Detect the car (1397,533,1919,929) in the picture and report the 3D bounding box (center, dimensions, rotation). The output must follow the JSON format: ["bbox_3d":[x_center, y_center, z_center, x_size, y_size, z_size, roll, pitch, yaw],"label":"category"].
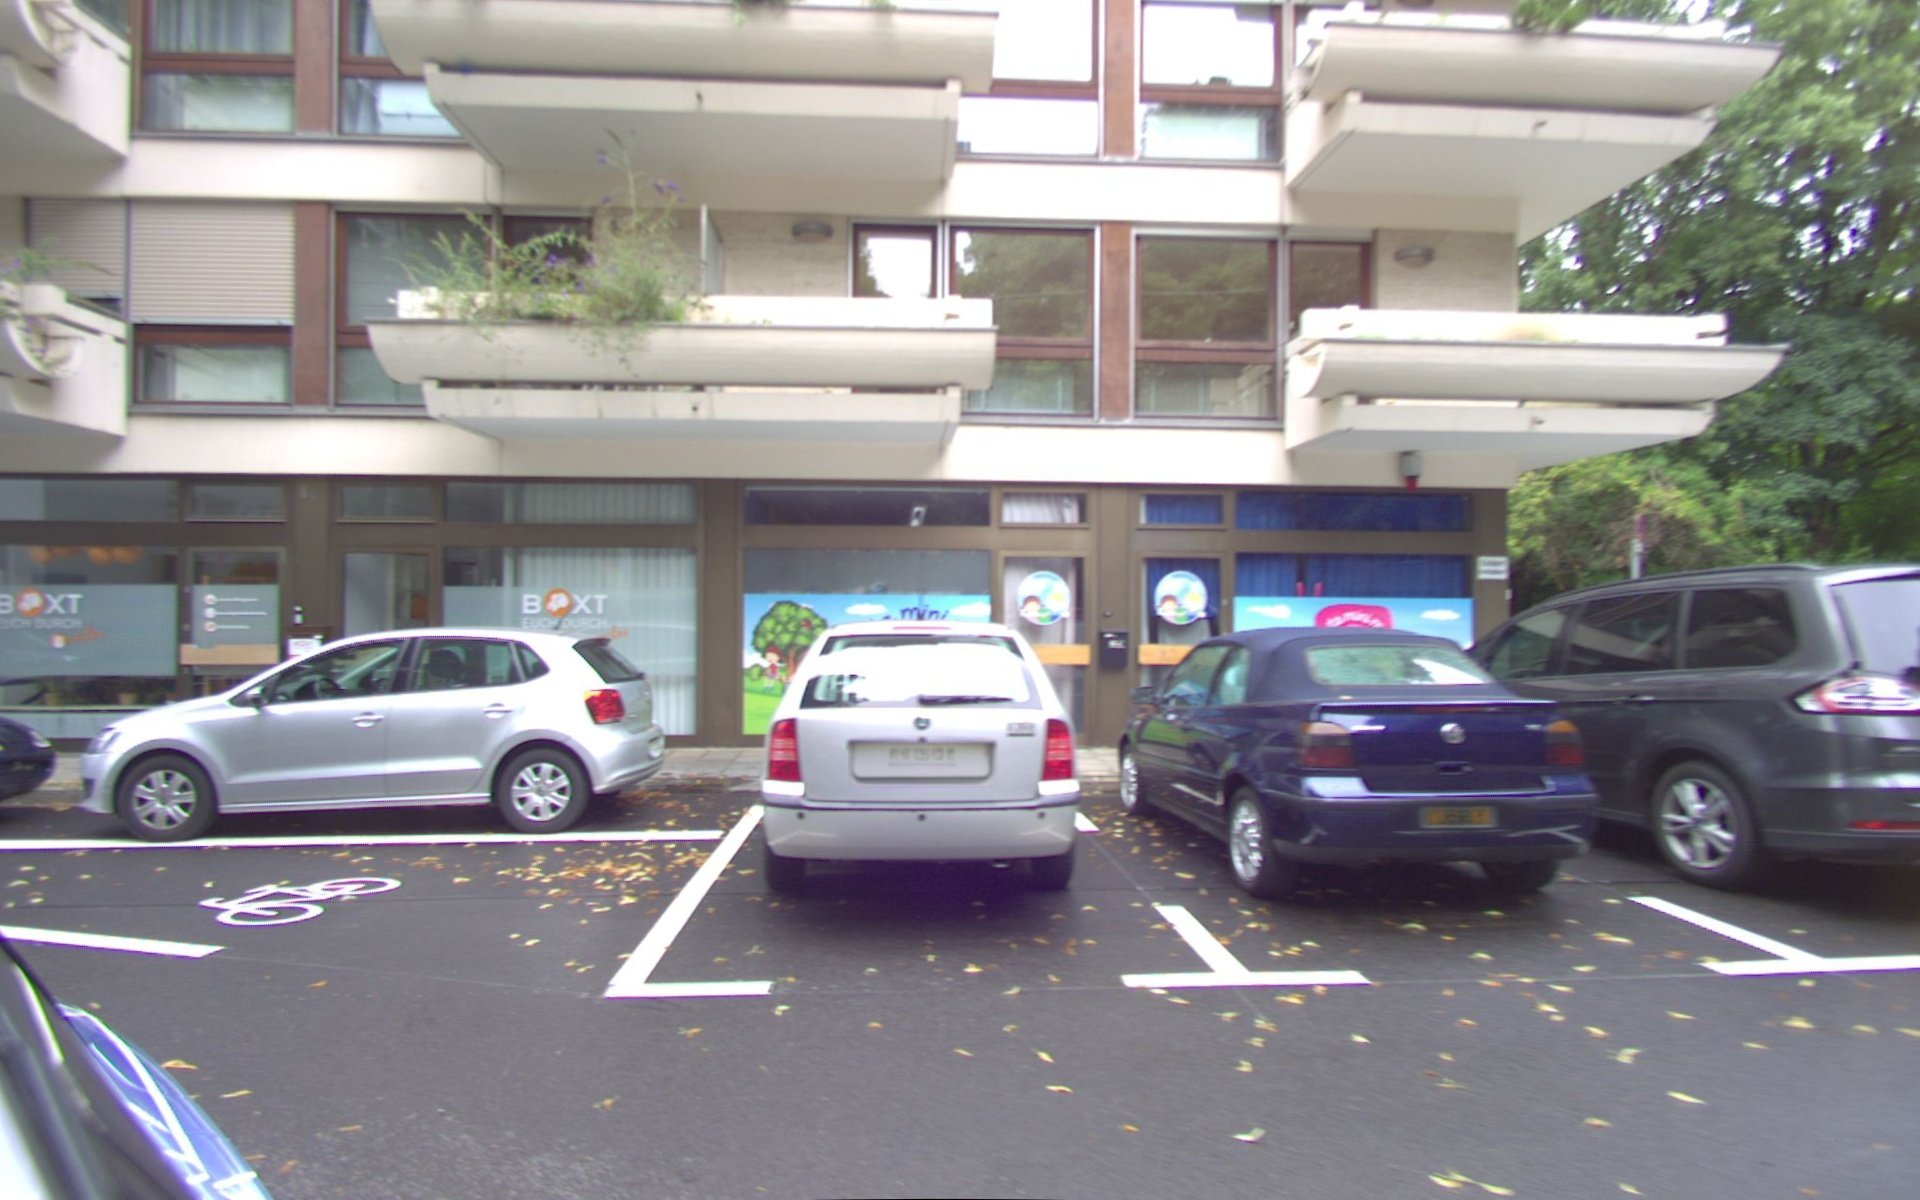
[{"bbox_3d":[4.840,0.658,6.457,1.873,1.697,4.239,0,-3,-6],"label":"car"}]

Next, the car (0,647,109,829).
[{"bbox_3d":[-9.111,1.002,7.144,4.547,1.288,1.804,0,-3,-4],"label":"car"}]

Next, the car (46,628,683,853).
[{"bbox_3d":[-4.122,0.953,7.527,3.775,1.432,1.567,0,-3,-5],"label":"car"}]

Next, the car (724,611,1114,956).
[{"bbox_3d":[-0.352,0.905,6.548,1.695,1.466,4.245,0,-3,-5],"label":"car"}]

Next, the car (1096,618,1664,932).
[{"bbox_3d":[2.176,0.874,6.597,1.692,1.378,4.076,0,-3,-5],"label":"car"}]

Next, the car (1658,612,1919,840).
[{"bbox_3d":[7.149,0.832,6.804,1.807,1.491,4.005,0,-3,-6],"label":"car"}]
